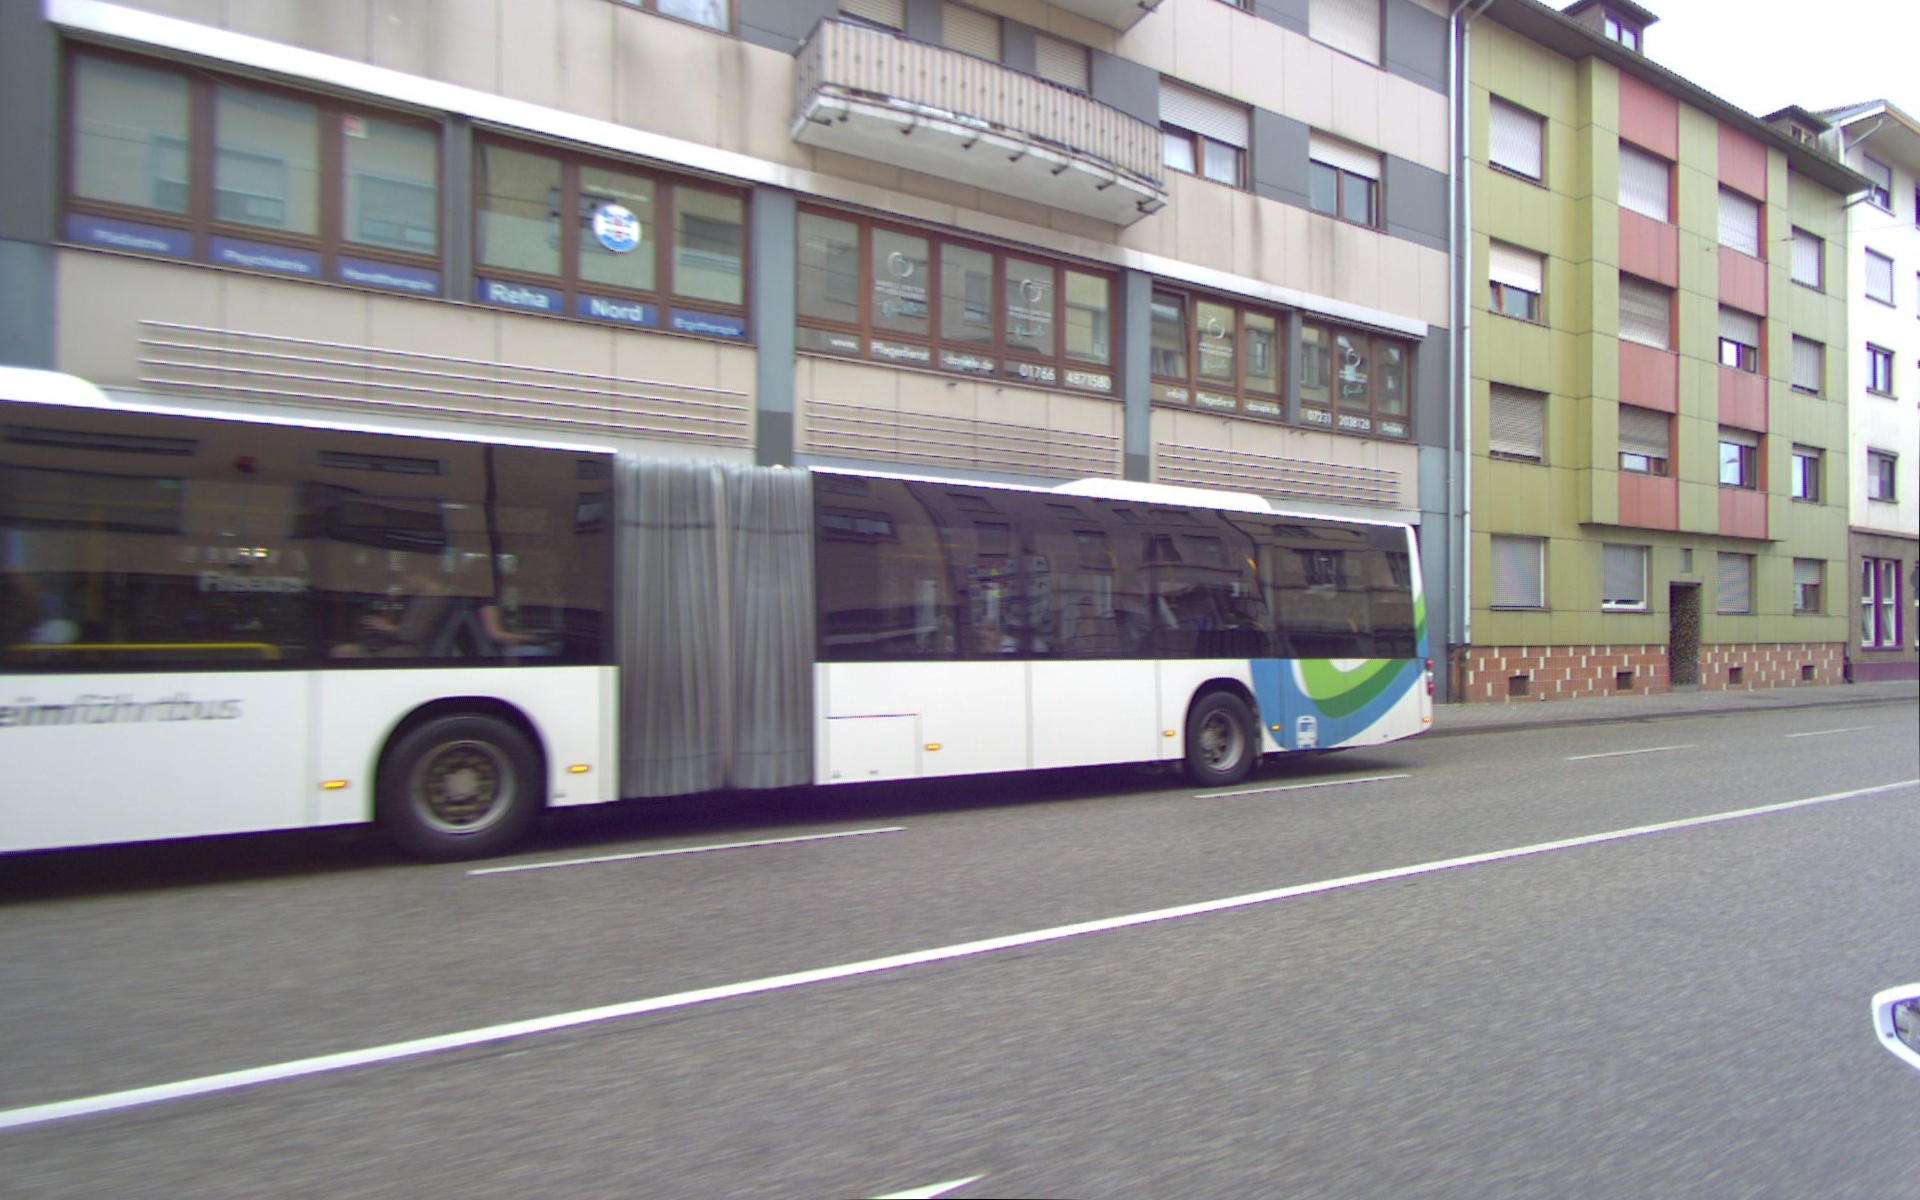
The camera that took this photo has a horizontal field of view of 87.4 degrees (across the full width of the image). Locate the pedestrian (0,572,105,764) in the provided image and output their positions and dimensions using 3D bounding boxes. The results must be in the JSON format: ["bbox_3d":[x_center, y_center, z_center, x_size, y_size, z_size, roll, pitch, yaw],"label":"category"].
[{"bbox_3d":[-8.268,0.583,8.884,0.824,1.610,0.942,2,-2,-27],"label":"pedestrian"}]

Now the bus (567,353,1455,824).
[{"bbox_3d":[1.036,0.082,10.385,9.183,3.230,2.713,2,-2,-30],"label":"bus"}]

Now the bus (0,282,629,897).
[{"bbox_3d":[-6.772,-0.065,5.862,8.806,3.230,2.746,2,-2,-30],"label":"bus"}]
